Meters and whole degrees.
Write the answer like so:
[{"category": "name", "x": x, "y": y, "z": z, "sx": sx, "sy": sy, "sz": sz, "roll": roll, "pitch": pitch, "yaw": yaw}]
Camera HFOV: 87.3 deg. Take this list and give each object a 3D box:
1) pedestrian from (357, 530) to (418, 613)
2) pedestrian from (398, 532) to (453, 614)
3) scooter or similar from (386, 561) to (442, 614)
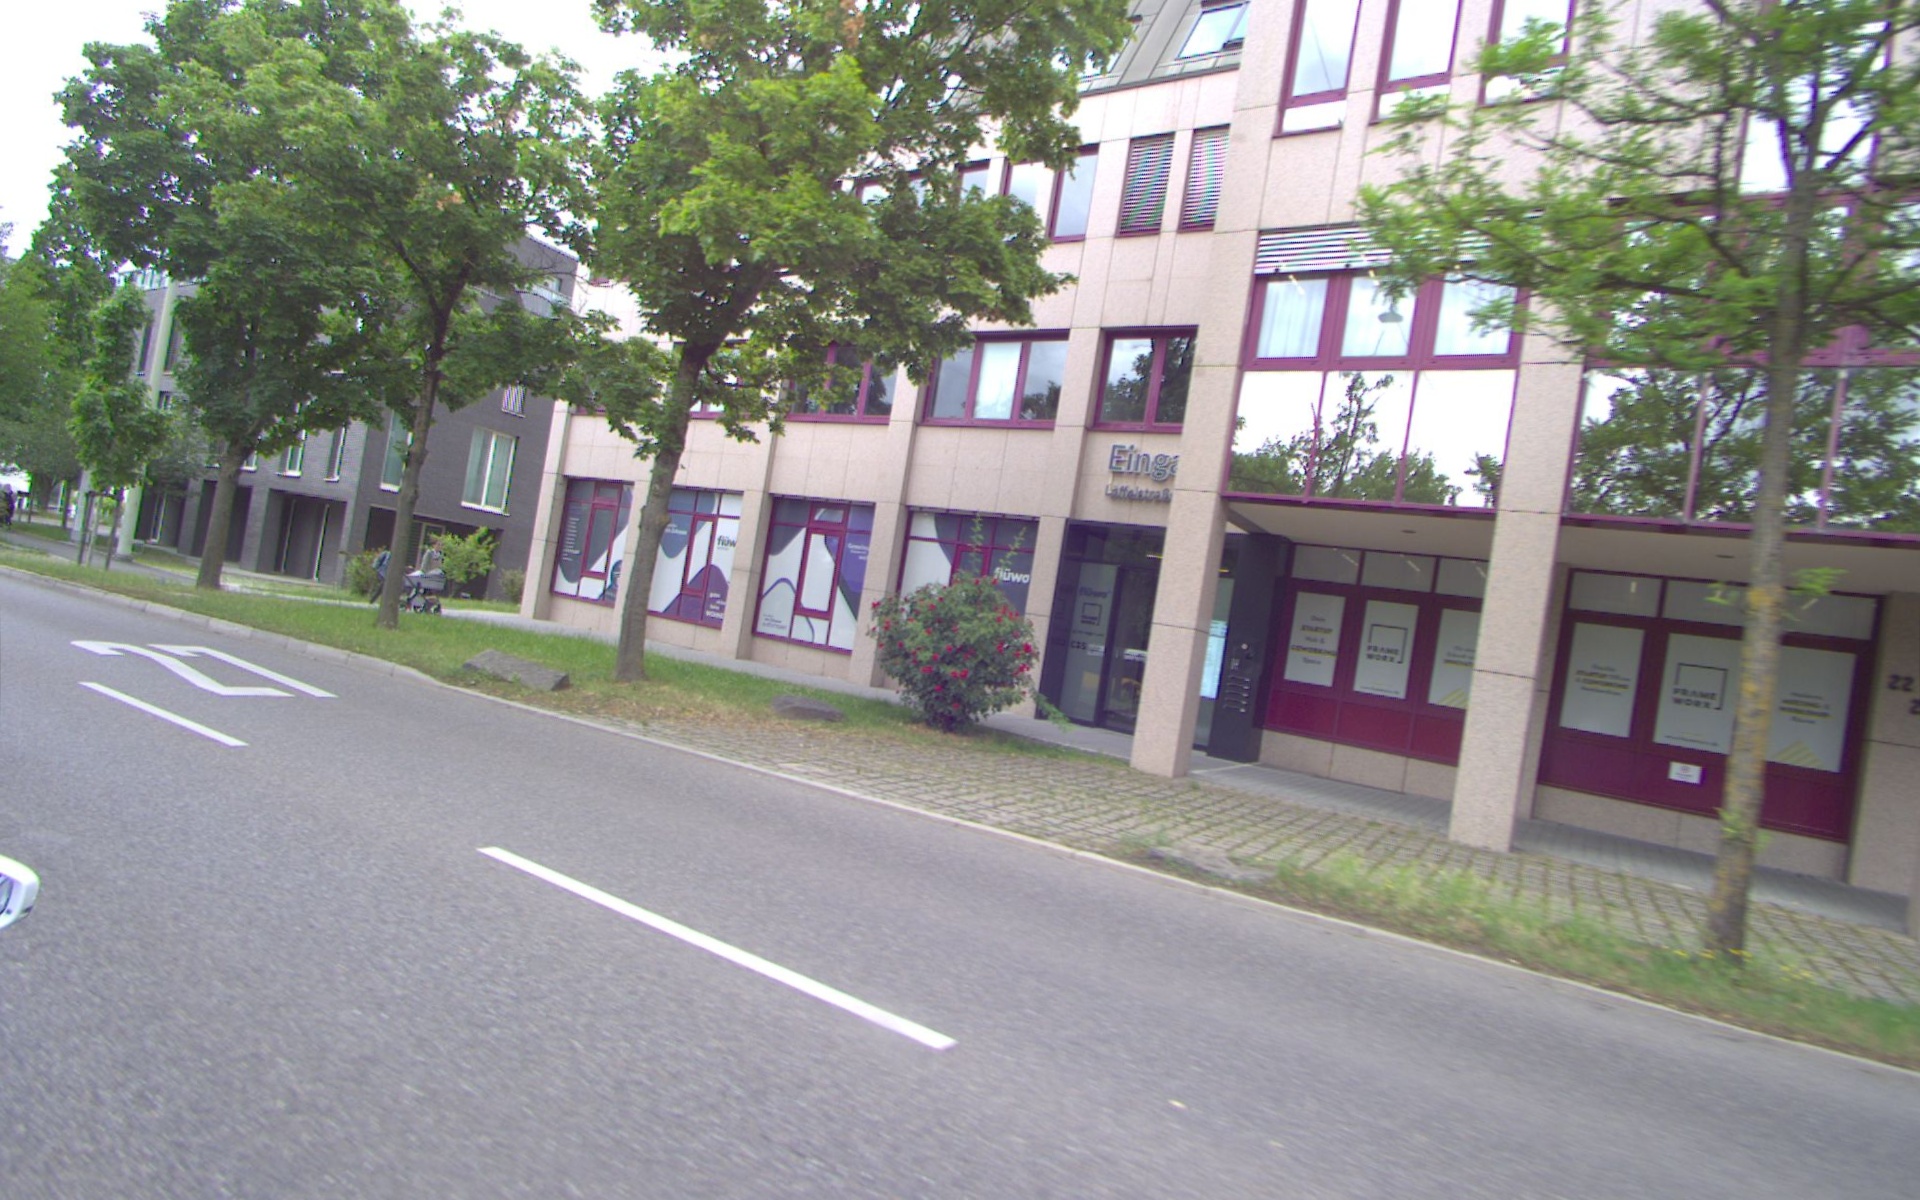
[{"category": "pedestrian", "x": -12.461, "y": -0.615, "z": 21.890, "sx": 0.944, "sy": 1.673, "sz": 0.556, "roll": 7, "pitch": 0, "yaw": 26}, {"category": "pedestrian", "x": -11.993, "y": -0.598, "z": 22.563, "sx": 0.816, "sy": 1.719, "sz": 0.568, "roll": 7, "pitch": -1, "yaw": 34}, {"category": "scooter or similar", "x": -11.677, "y": -0.256, "z": 21.527, "sx": 0.831, "sy": 1.006, "sz": 0.585, "roll": 7, "pitch": 0, "yaw": 26}]
